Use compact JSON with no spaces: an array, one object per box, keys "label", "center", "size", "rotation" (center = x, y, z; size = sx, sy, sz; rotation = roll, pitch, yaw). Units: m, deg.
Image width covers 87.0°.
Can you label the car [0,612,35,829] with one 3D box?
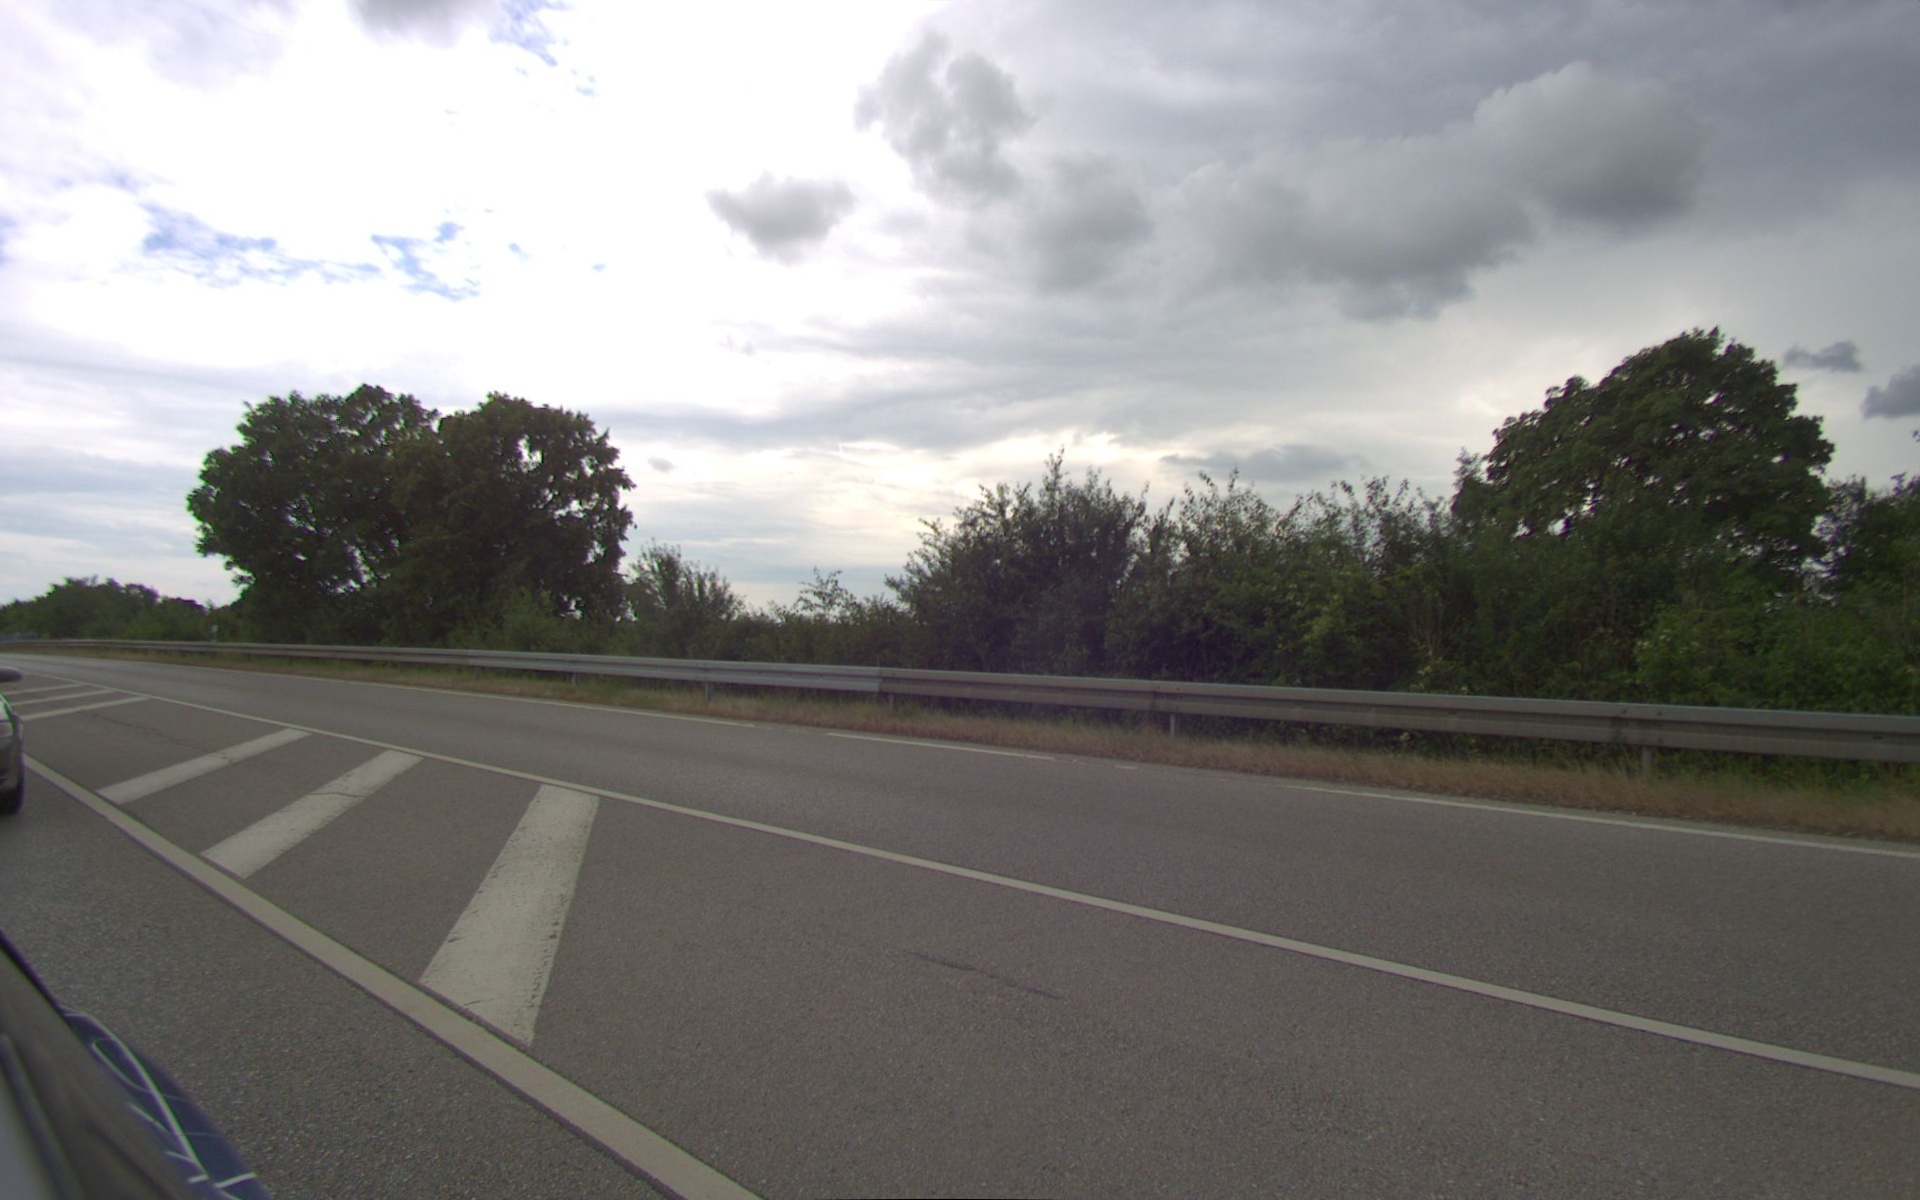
[{"label":"car","center":[-8.461,0.855,7.630],"size":[4.032,1.461,1.761],"rotation":[-2,-2,41]}]
